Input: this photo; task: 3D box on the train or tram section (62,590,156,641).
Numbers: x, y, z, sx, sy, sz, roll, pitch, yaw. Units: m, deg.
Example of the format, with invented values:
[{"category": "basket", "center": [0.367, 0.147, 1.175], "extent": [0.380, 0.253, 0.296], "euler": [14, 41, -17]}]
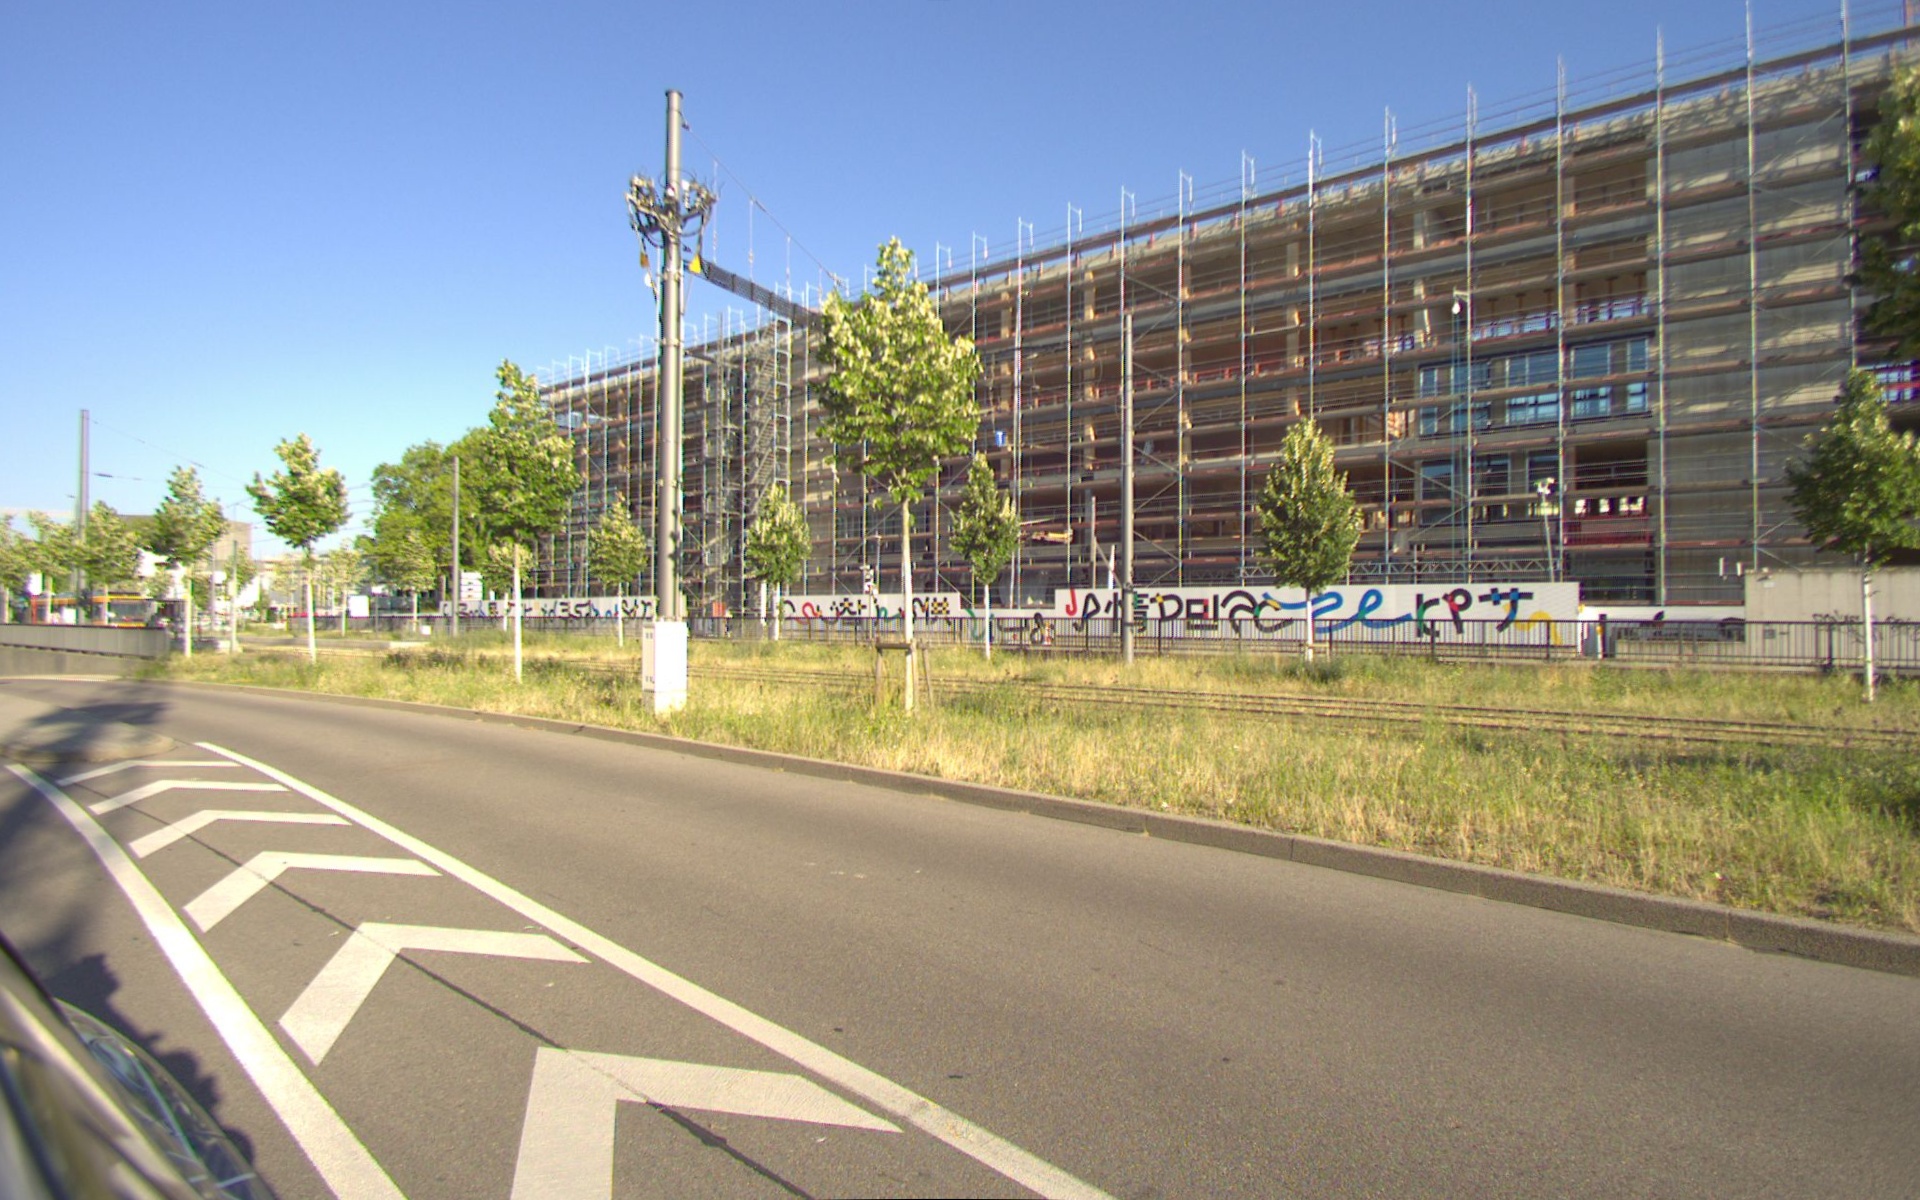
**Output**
[{"category": "train or tram section", "center": [-62.690, 1.114, 74.372], "extent": [12.619, 3.423, 2.917], "euler": [-1, 0, 39]}]

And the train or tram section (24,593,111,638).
[{"category": "train or tram section", "center": [-73.326, 1.233, 83.002], "extent": [14.749, 3.423, 2.917], "euler": [-1, 0, 39]}]
